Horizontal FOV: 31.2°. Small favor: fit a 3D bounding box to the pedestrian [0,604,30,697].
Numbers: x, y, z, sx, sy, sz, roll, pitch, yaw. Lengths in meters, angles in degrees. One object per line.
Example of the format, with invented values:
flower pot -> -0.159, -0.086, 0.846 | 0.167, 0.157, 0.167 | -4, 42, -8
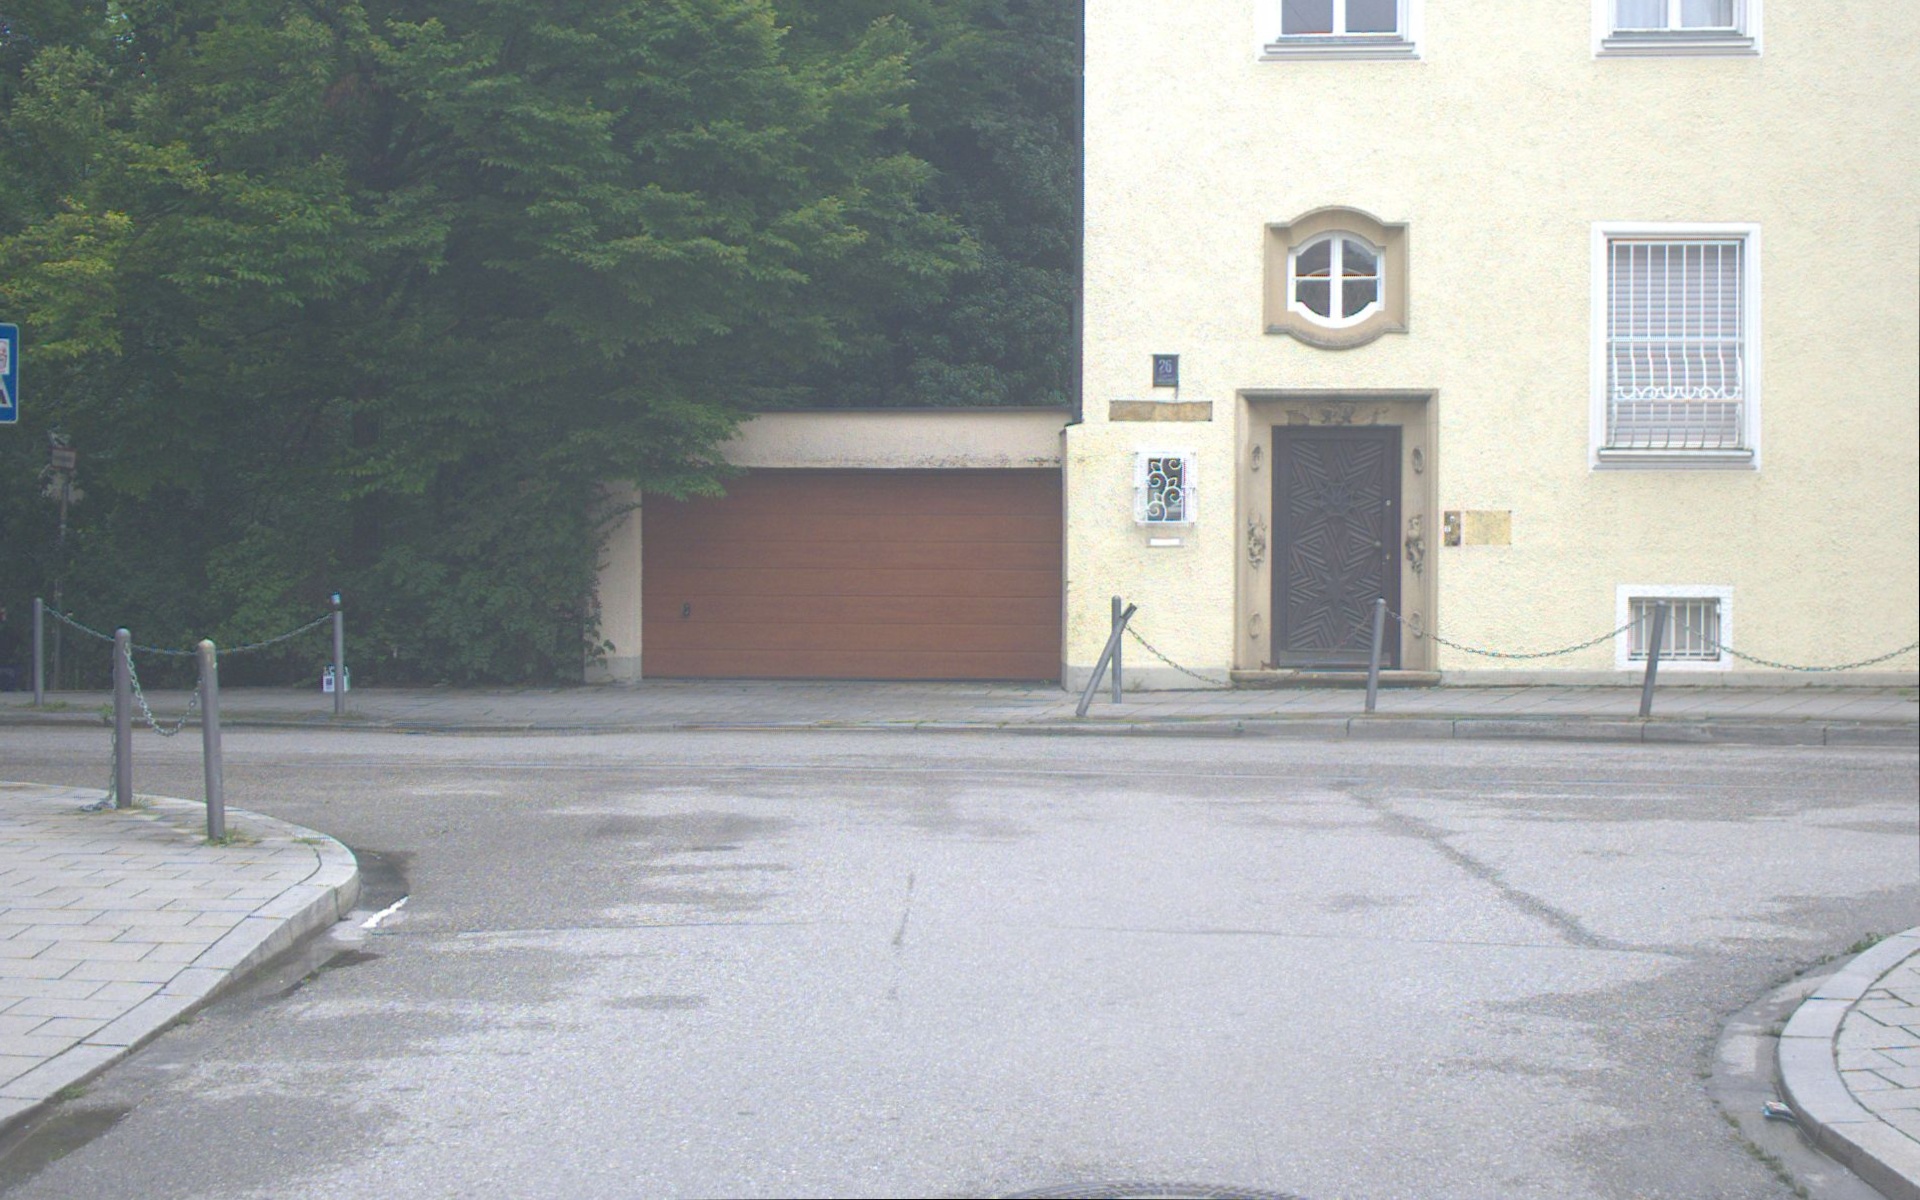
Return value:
pedestrian -> -12.179, 0.636, 43.606 | 0.585, 1.164, 0.497 | 1, 1, 5
